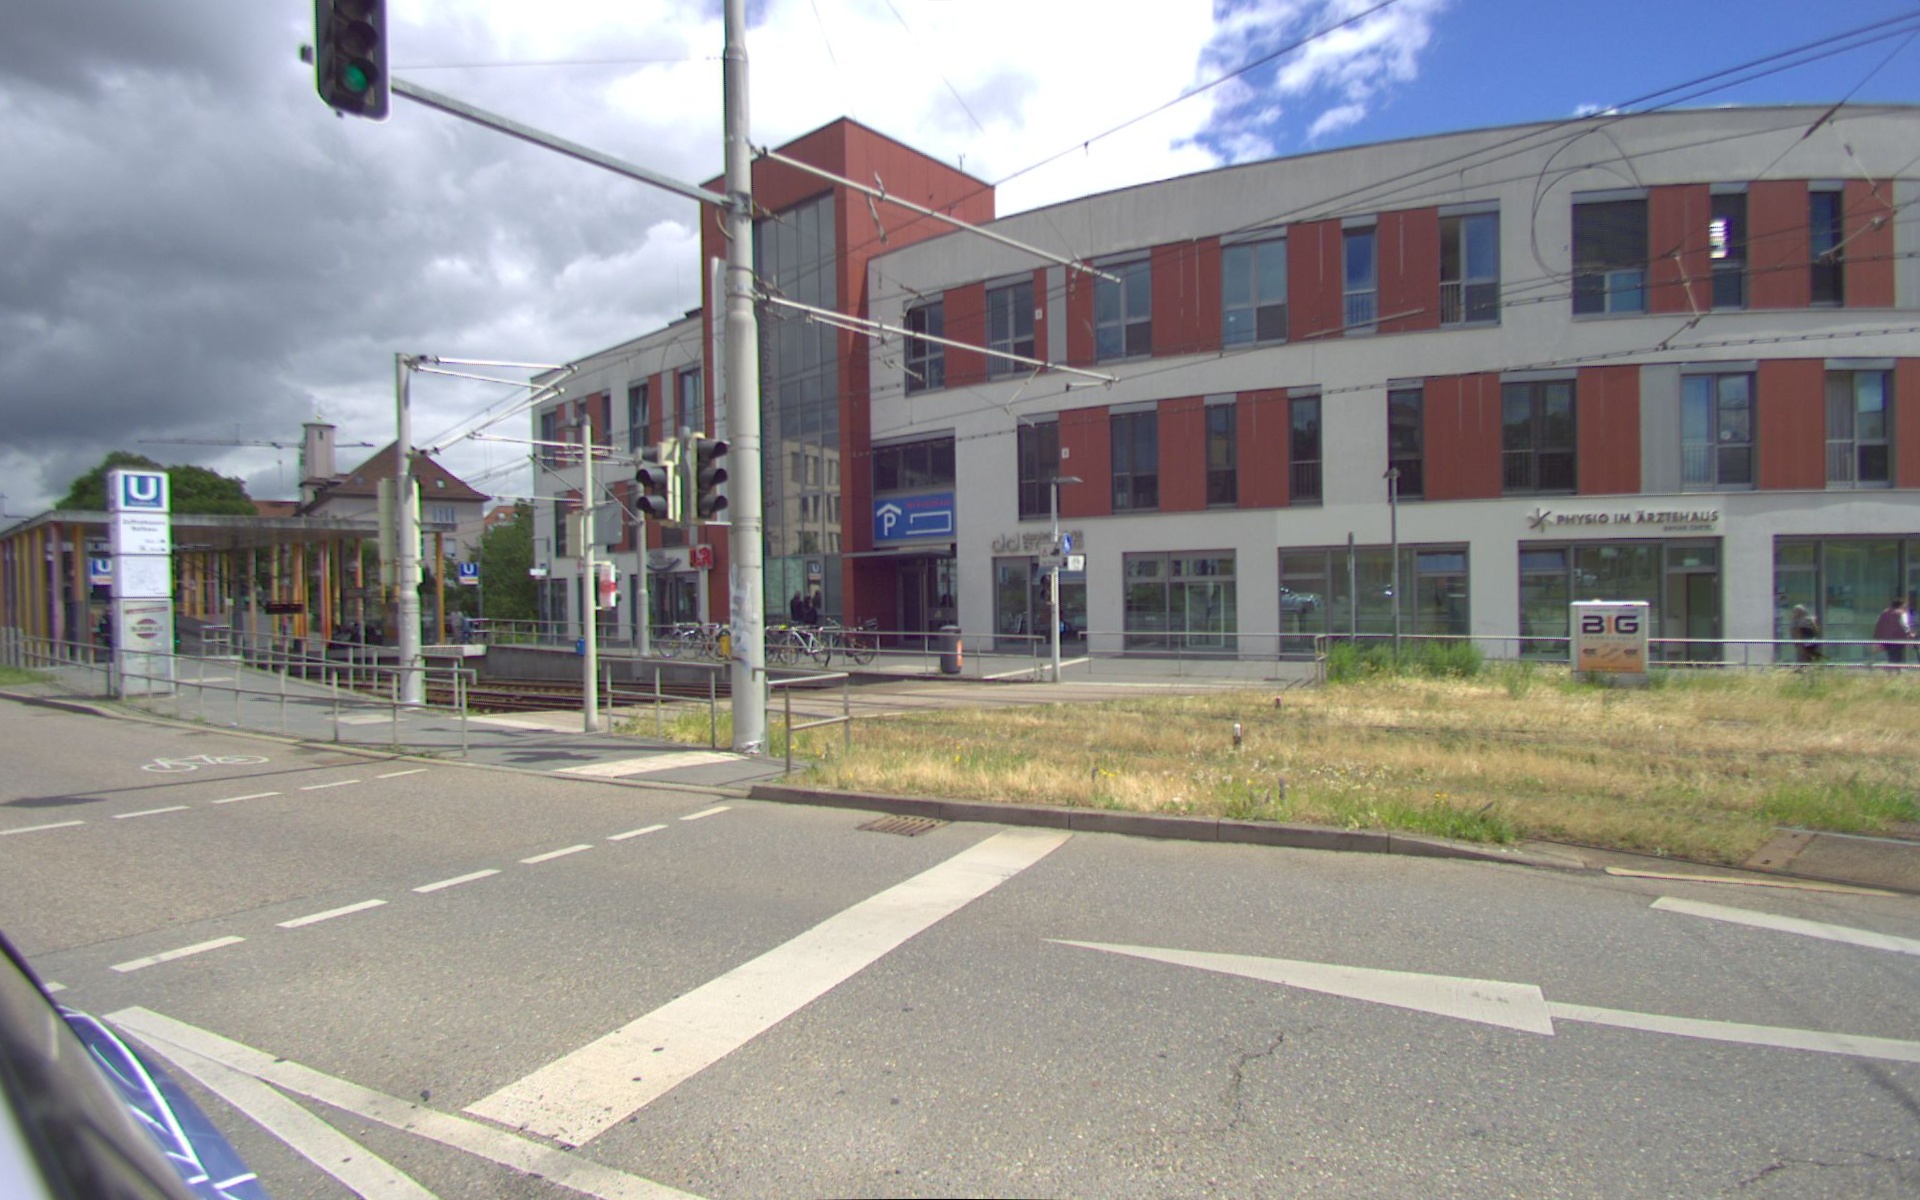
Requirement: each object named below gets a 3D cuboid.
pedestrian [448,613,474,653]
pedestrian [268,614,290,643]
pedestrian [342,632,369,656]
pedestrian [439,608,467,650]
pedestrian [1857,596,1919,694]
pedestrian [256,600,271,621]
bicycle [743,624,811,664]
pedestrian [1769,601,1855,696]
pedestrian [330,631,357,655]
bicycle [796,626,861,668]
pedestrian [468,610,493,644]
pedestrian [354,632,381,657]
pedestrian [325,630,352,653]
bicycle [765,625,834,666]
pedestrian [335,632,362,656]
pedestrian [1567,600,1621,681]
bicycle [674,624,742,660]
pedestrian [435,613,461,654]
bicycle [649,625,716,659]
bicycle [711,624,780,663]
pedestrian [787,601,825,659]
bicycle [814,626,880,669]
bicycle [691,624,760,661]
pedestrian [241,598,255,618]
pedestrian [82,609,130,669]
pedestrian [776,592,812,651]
[{"bbox_3d":[-24.900,1.624,50.451,0.852,1.983,1.107,1,-1,-44],"label":"pedestrian"},{"bbox_3d":[-48.497,2.052,72.056,1.112,2.029,1.180,0,-2,-44],"label":"pedestrian"},{"bbox_3d":[-29.411,2.140,49.258,0.886,1.143,0.931,-2,-1,42],"label":"pedestrian"},{"bbox_3d":[-24.218,1.394,48.372,1.106,1.983,0.852,0,-1,43],"label":"pedestrian"},{"bbox_3d":[19.495,0.911,20.945,1.094,1.983,0.861,0,-1,11],"label":"pedestrian"},{"bbox_3d":[-67.431,1.035,97.976,1.108,2.029,1.664,0,-1,-35],"label":"pedestrian"},{"bbox_3d":[-4.747,1.129,26.332,0.454,0.970,1.837,-1,0,43],"label":"bicycle"},{"bbox_3d":[18.270,1.030,21.718,1.104,1.983,0.862,0,-1,10],"label":"pedestrian"},{"bbox_3d":[-30.818,2.147,50.611,0.886,1.143,0.931,-2,-1,42],"label":"pedestrian"},{"bbox_3d":[-3.233,1.139,25.071,0.428,0.965,1.716,-1,0,43],"label":"bicycle"},{"bbox_3d":[-28.157,1.561,59.424,1.088,1.983,0.866,1,-1,-11],"label":"pedestrian"},{"bbox_3d":[-28.562,2.140,48.784,0.886,1.143,0.931,-2,-1,42],"label":"pedestrian"},{"bbox_3d":[-31.578,2.115,51.417,0.886,1.143,0.931,-2,-1,42],"label":"pedestrian"},{"bbox_3d":[-4.064,1.140,25.697,0.454,0.942,1.837,-1,0,43],"label":"bicycle"},{"bbox_3d":[-30.128,2.143,49.893,0.886,1.143,0.931,-2,-1,42],"label":"pedestrian"},{"bbox_3d":[12.634,0.798,20.180,0.685,1.592,0.731,-1,-1,16],"label":"pedestrian"},{"bbox_3d":[-6.991,1.157,28.138,1.835,0.939,0.455,0,0,-41],"label":"bicycle"},{"bbox_3d":[-25.322,1.625,50.027,0.852,1.983,1.107,1,-1,-44],"label":"pedestrian"},{"bbox_3d":[-7.885,1.193,28.826,1.834,0.888,0.455,0,0,-41],"label":"bicycle"},{"bbox_3d":[-5.706,1.140,26.980,1.836,0.946,0.455,0,0,-45],"label":"bicycle"},{"bbox_3d":[-4.678,0.896,30.730,0.926,1.711,0.785,0,-1,12],"label":"pedestrian"},{"bbox_3d":[-2.745,1.140,24.668,0.428,0.959,1.716,-1,0,43],"label":"bicycle"},{"bbox_3d":[-6.378,1.154,27.579,1.835,0.929,0.455,0,0,-42],"label":"bicycle"},{"bbox_3d":[-72.729,0.834,103.373,1.112,2.029,0.816,0,-2,-44],"label":"pedestrian"},{"bbox_3d":[-28.279,1.266,33.528,0.864,1.929,1.090,0,-1,42],"label":"pedestrian"},{"bbox_3d":[-5.322,0.668,32.477,0.856,1.859,0.876,0,1,13],"label":"pedestrian"}]
